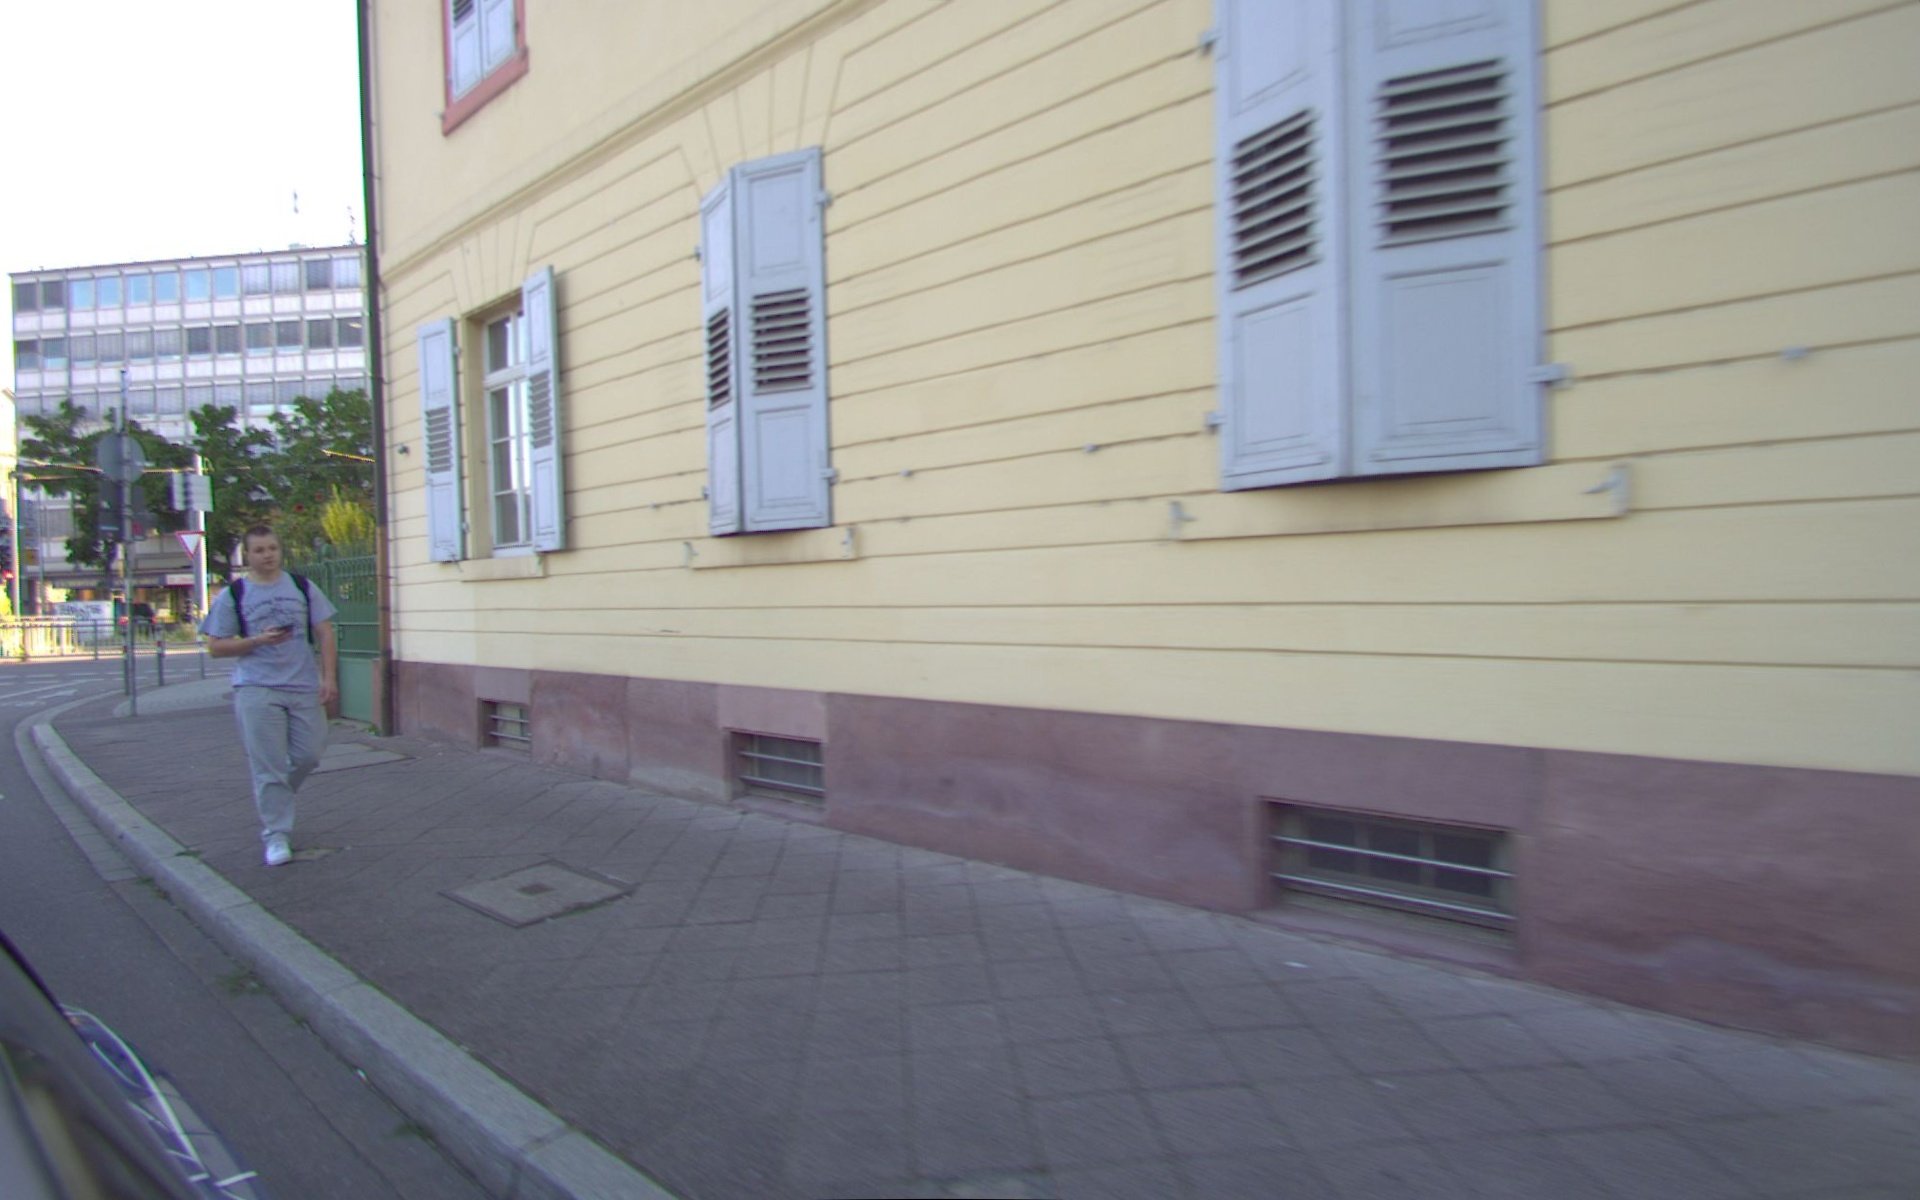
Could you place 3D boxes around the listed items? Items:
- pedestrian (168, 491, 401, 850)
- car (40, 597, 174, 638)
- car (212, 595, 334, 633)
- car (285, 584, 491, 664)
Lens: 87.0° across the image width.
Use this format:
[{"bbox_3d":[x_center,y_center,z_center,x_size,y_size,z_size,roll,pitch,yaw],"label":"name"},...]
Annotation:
[{"bbox_3d":[-3.667,0.330,5.497,0.830,1.737,0.866,-1,1,45],"label":"pedestrian"},{"bbox_3d":[-36.662,0.746,43.556,4.250,1.586,1.997,-1,1,6],"label":"car"},{"bbox_3d":[-29.029,0.591,42.818,4.326,1.446,1.731,-1,1,12],"label":"car"},{"bbox_3d":[-12.731,0.486,22.747,3.665,1.572,1.685,-2,2,-12],"label":"car"}]
